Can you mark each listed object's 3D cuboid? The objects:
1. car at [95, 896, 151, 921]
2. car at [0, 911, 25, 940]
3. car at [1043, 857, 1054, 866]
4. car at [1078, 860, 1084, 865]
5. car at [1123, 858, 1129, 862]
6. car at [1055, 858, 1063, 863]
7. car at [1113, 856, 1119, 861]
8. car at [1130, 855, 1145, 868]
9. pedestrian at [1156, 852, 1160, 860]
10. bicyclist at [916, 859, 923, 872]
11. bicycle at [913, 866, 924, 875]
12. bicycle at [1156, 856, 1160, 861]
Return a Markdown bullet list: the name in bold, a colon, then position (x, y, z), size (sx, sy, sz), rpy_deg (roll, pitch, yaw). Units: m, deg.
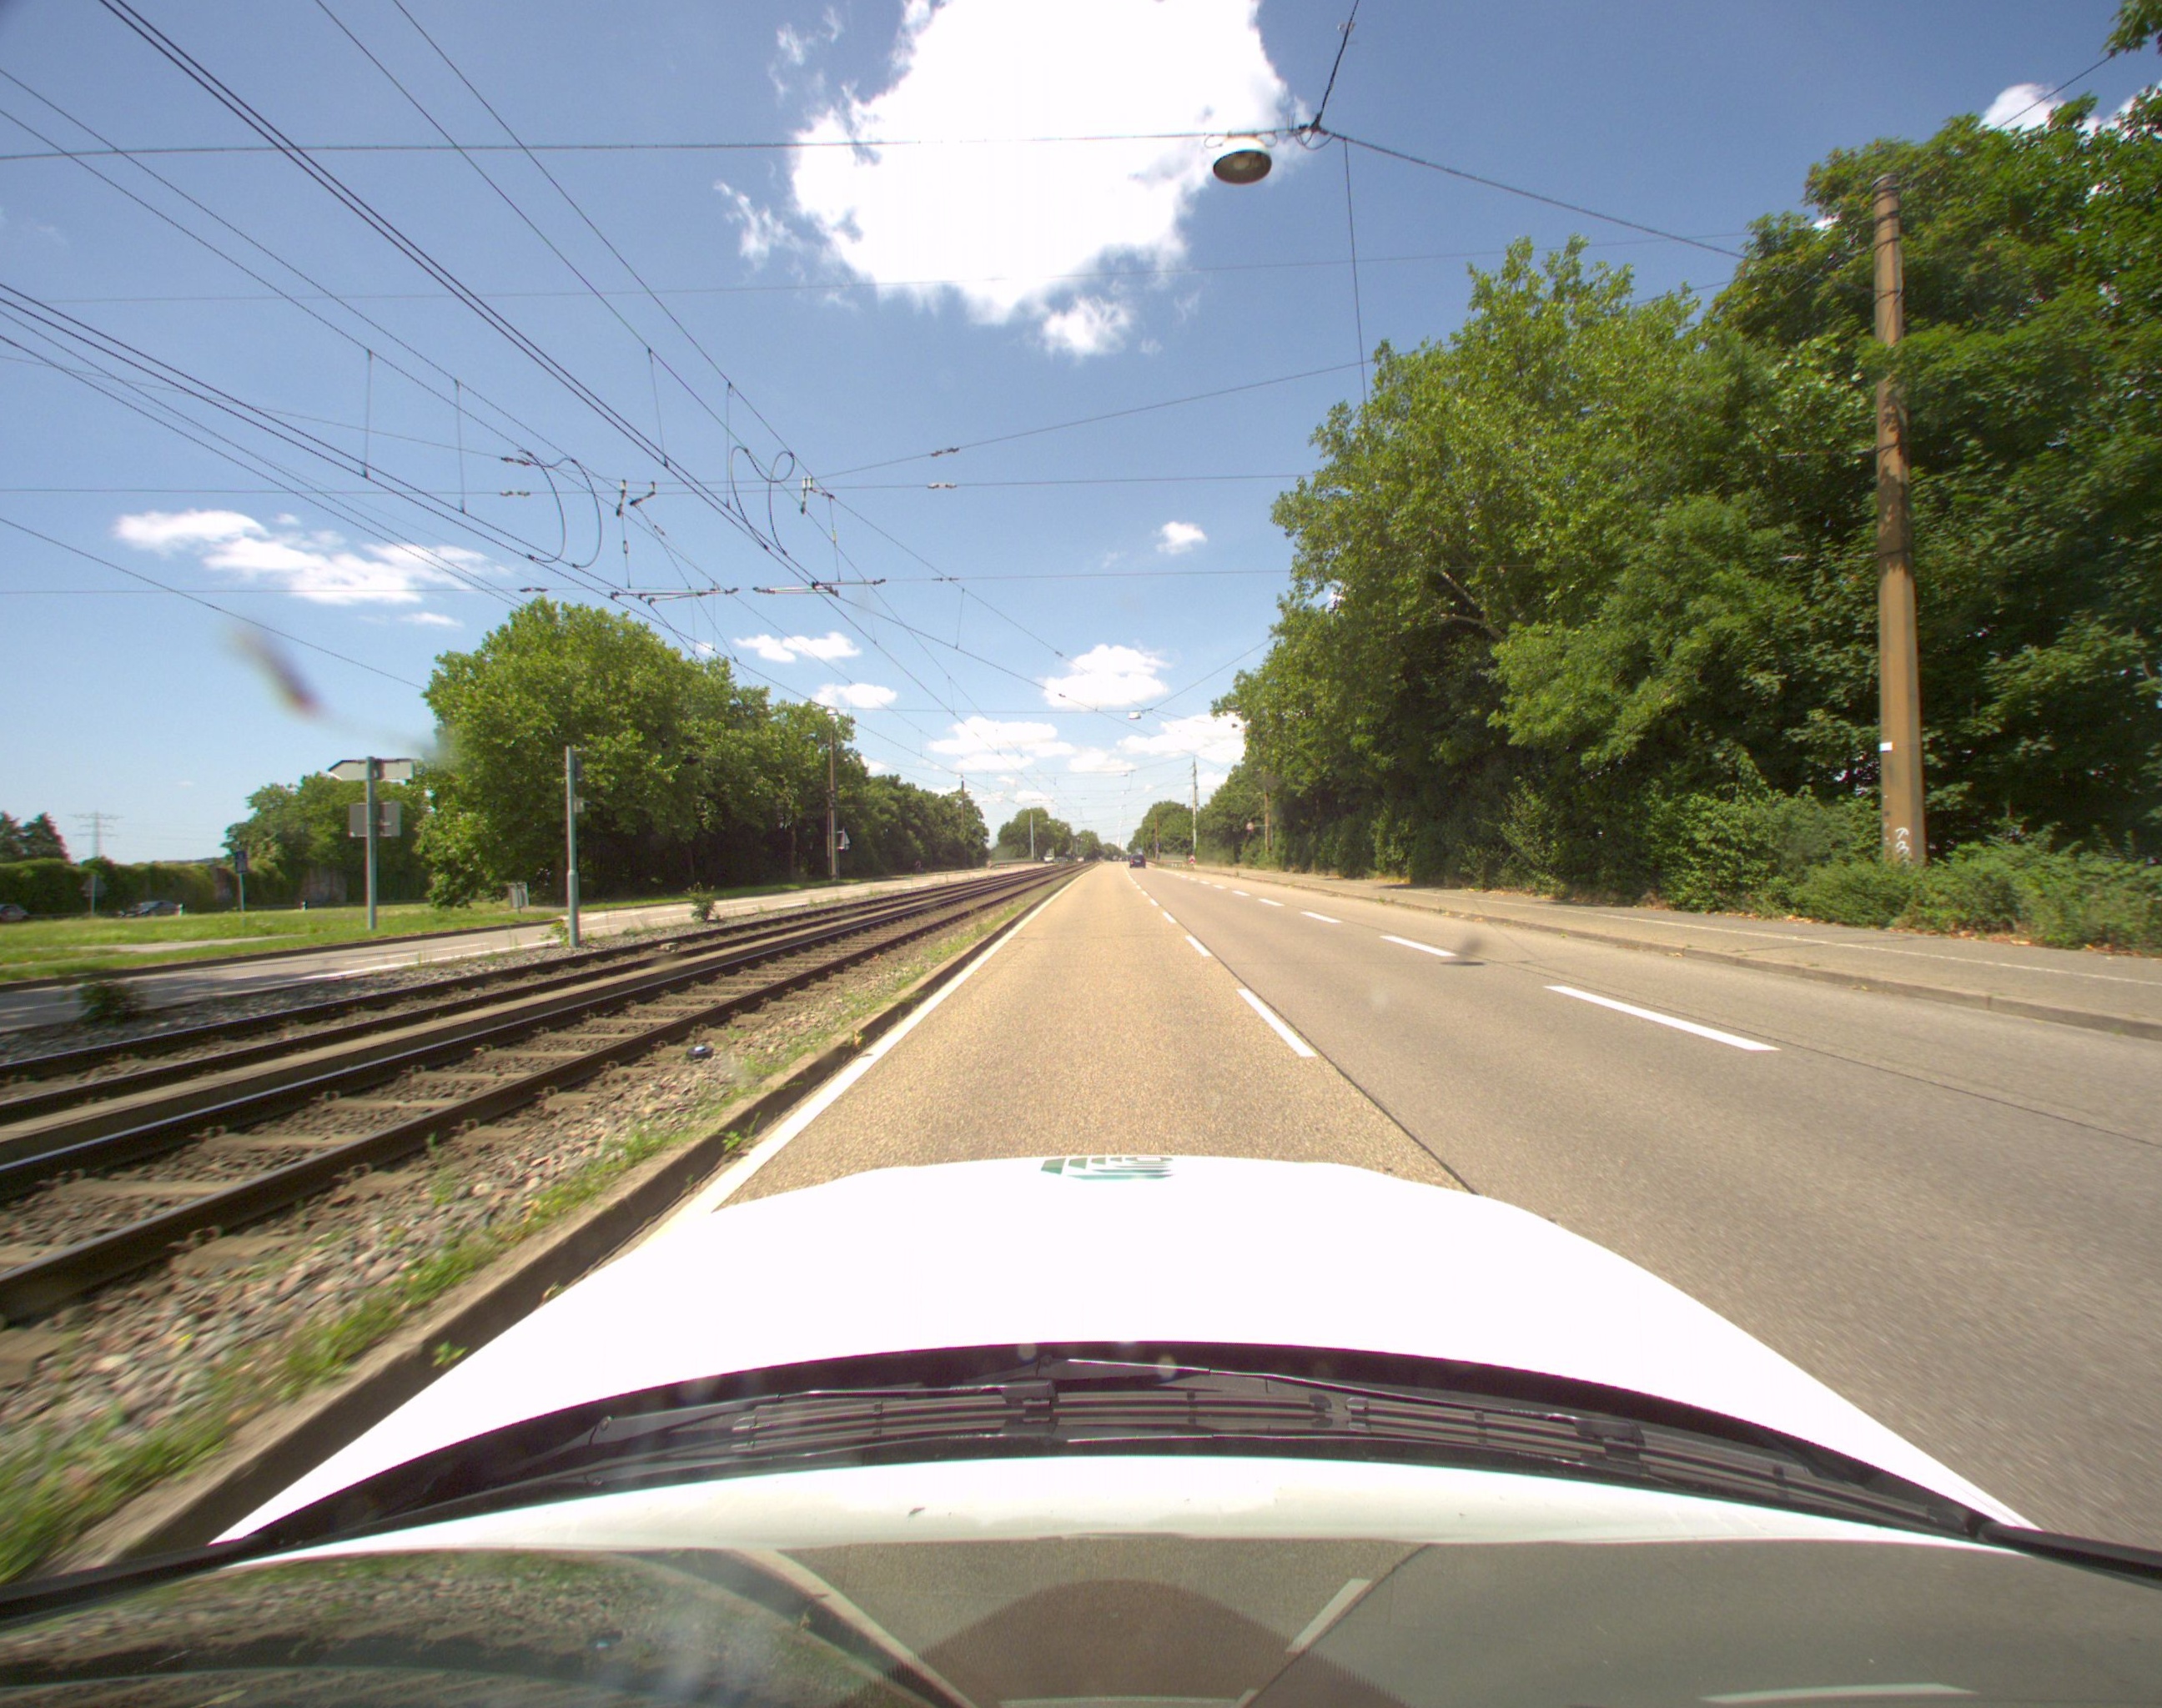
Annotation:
- **car**: position (-77.993, 4.430, 66.328), size (1.567, 1.792, 3.373), rpy_deg (-2, 0, -23)
- **car**: position (-72.077, 4.803, 53.677), size (1.567, 1.792, 3.373), rpy_deg (-2, 0, -23)
- **car**: position (-6.678, 1.549, 169.436), size (1.804, 1.925, 5.182), rpy_deg (-2, -1, 3)
- **car**: position (0.004, 2.581, 244.644), size (1.704, 1.420, 4.627), rpy_deg (-2, -1, 3)
- **car**: position (11.891, 1.469, 214.286), size (1.426, 1.030, 3.372), rpy_deg (0, -1, 2)
- **car**: position (-5.349, 1.592, 199.142), size (1.557, 1.347, 3.931), rpy_deg (-2, -1, 3)
- **car**: position (11.175, 1.400, 258.752), size (1.986, 1.530, 4.001), rpy_deg (0, -1, 2)
- **car**: position (6.306, 0.815, 91.170), size (1.580, 1.343, 3.273), rpy_deg (-2, 0, 1)
- **pedestrian**: position (13.647, 0.425, 144.122), size (0.625, 1.374, 1.051), rpy_deg (-2, -1, 3)
- **bicyclist**: position (-17.287, 1.264, 86.947), size (0.566, 1.368, 0.632), rpy_deg (0, -2, 4)
- **bicycle**: position (-17.301, 1.752, 86.917), size (0.583, 0.819, 2.071), rpy_deg (-3, -1, 5)
- **bicycle**: position (13.661, 0.800, 144.154), size (0.557, 1.024, 1.849), rpy_deg (-2, -1, 3)
